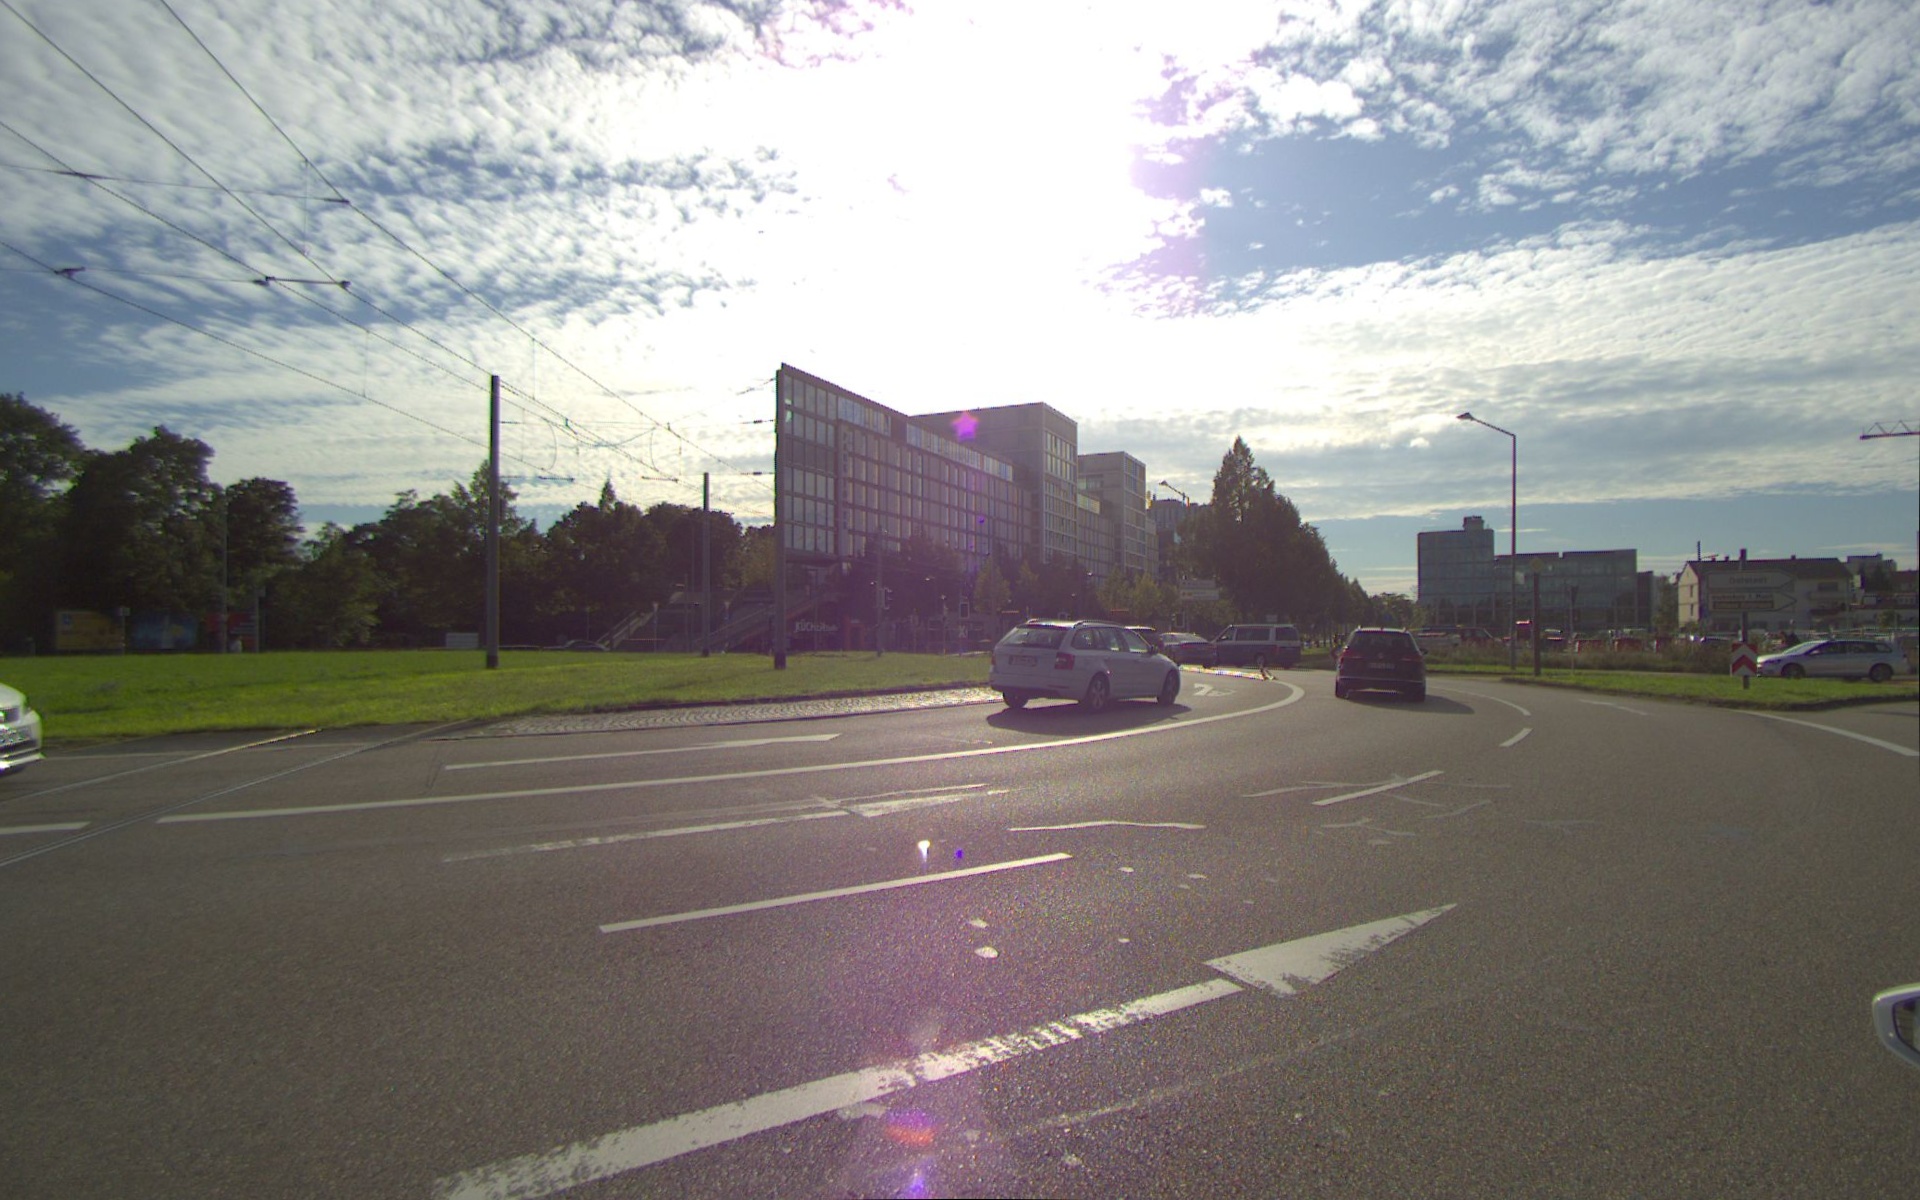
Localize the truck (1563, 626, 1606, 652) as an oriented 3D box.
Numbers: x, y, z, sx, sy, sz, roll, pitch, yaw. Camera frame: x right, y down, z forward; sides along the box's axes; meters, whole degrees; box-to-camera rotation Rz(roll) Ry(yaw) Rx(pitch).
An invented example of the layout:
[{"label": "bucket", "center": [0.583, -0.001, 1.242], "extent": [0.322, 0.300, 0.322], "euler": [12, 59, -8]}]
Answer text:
[{"label": "truck", "center": [60.356, 3.767, 97.193], "extent": [2.289, 2.358, 6.453], "euler": [0, -2, 20]}]

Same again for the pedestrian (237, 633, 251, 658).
[{"label": "pedestrian", "center": [-46.974, 2.986, 65.935], "extent": [0.496, 1.646, 0.548], "euler": [-1, -2, 16]}]

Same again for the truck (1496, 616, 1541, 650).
[{"label": "truck", "center": [54.953, 3.240, 98.994], "extent": [2.761, 3.249, 7.317], "euler": [0, -2, 20]}]

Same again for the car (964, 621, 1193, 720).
[{"label": "car", "center": [2.207, 1.110, 17.523], "extent": [1.828, 1.464, 4.618], "euler": [0, -1, 39]}]

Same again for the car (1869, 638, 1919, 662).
[{"label": "car", "center": [73.035, 3.853, 78.348], "extent": [1.849, 1.839, 4.000], "euler": [0, -2, 21]}]

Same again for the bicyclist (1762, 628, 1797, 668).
[{"label": "bicyclist", "center": [31.780, 1.858, 38.970], "extent": [0.994, 1.531, 0.702], "euler": [-2, -2, 37]}]

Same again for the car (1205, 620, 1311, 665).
[{"label": "car", "center": [13.644, 1.907, 46.313], "extent": [1.881, 1.928, 4.620], "euler": [1, -1, -32]}]

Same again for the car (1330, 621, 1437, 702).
[{"label": "car", "center": [9.284, 1.280, 22.354], "extent": [1.961, 1.587, 4.844], "euler": [-1, -2, 20]}]

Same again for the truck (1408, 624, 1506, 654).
[{"label": "truck", "center": [44.433, 3.470, 90.043], "extent": [7.710, 2.601, 3.073], "euler": [-1, -2, 24]}]

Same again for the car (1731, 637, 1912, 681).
[{"label": "car", "center": [30.210, 2.040, 35.366], "extent": [4.450, 1.471, 1.825], "euler": [0, -2, 14]}]

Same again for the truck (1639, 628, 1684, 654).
[{"label": "truck", "center": [66.281, 3.829, 95.016], "extent": [2.023, 2.358, 5.639], "euler": [0, -2, 20]}]

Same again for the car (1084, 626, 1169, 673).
[{"label": "car", "center": [6.017, 1.761, 36.743], "extent": [1.742, 1.593, 4.058], "euler": [1, -1, -11]}]

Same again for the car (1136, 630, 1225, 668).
[{"label": "car", "center": [9.319, 2.060, 42.868], "extent": [1.869, 1.450, 4.649], "euler": [1, -1, -13]}]

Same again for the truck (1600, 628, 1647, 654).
[{"label": "truck", "center": [63.496, 3.876, 96.211], "extent": [2.289, 2.358, 6.453], "euler": [0, -2, 20]}]

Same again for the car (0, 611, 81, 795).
[{"label": "car", "center": [-9.576, 0.835, 7.882], "extent": [3.598, 1.484, 1.762], "euler": [0, 0, -14]}]
